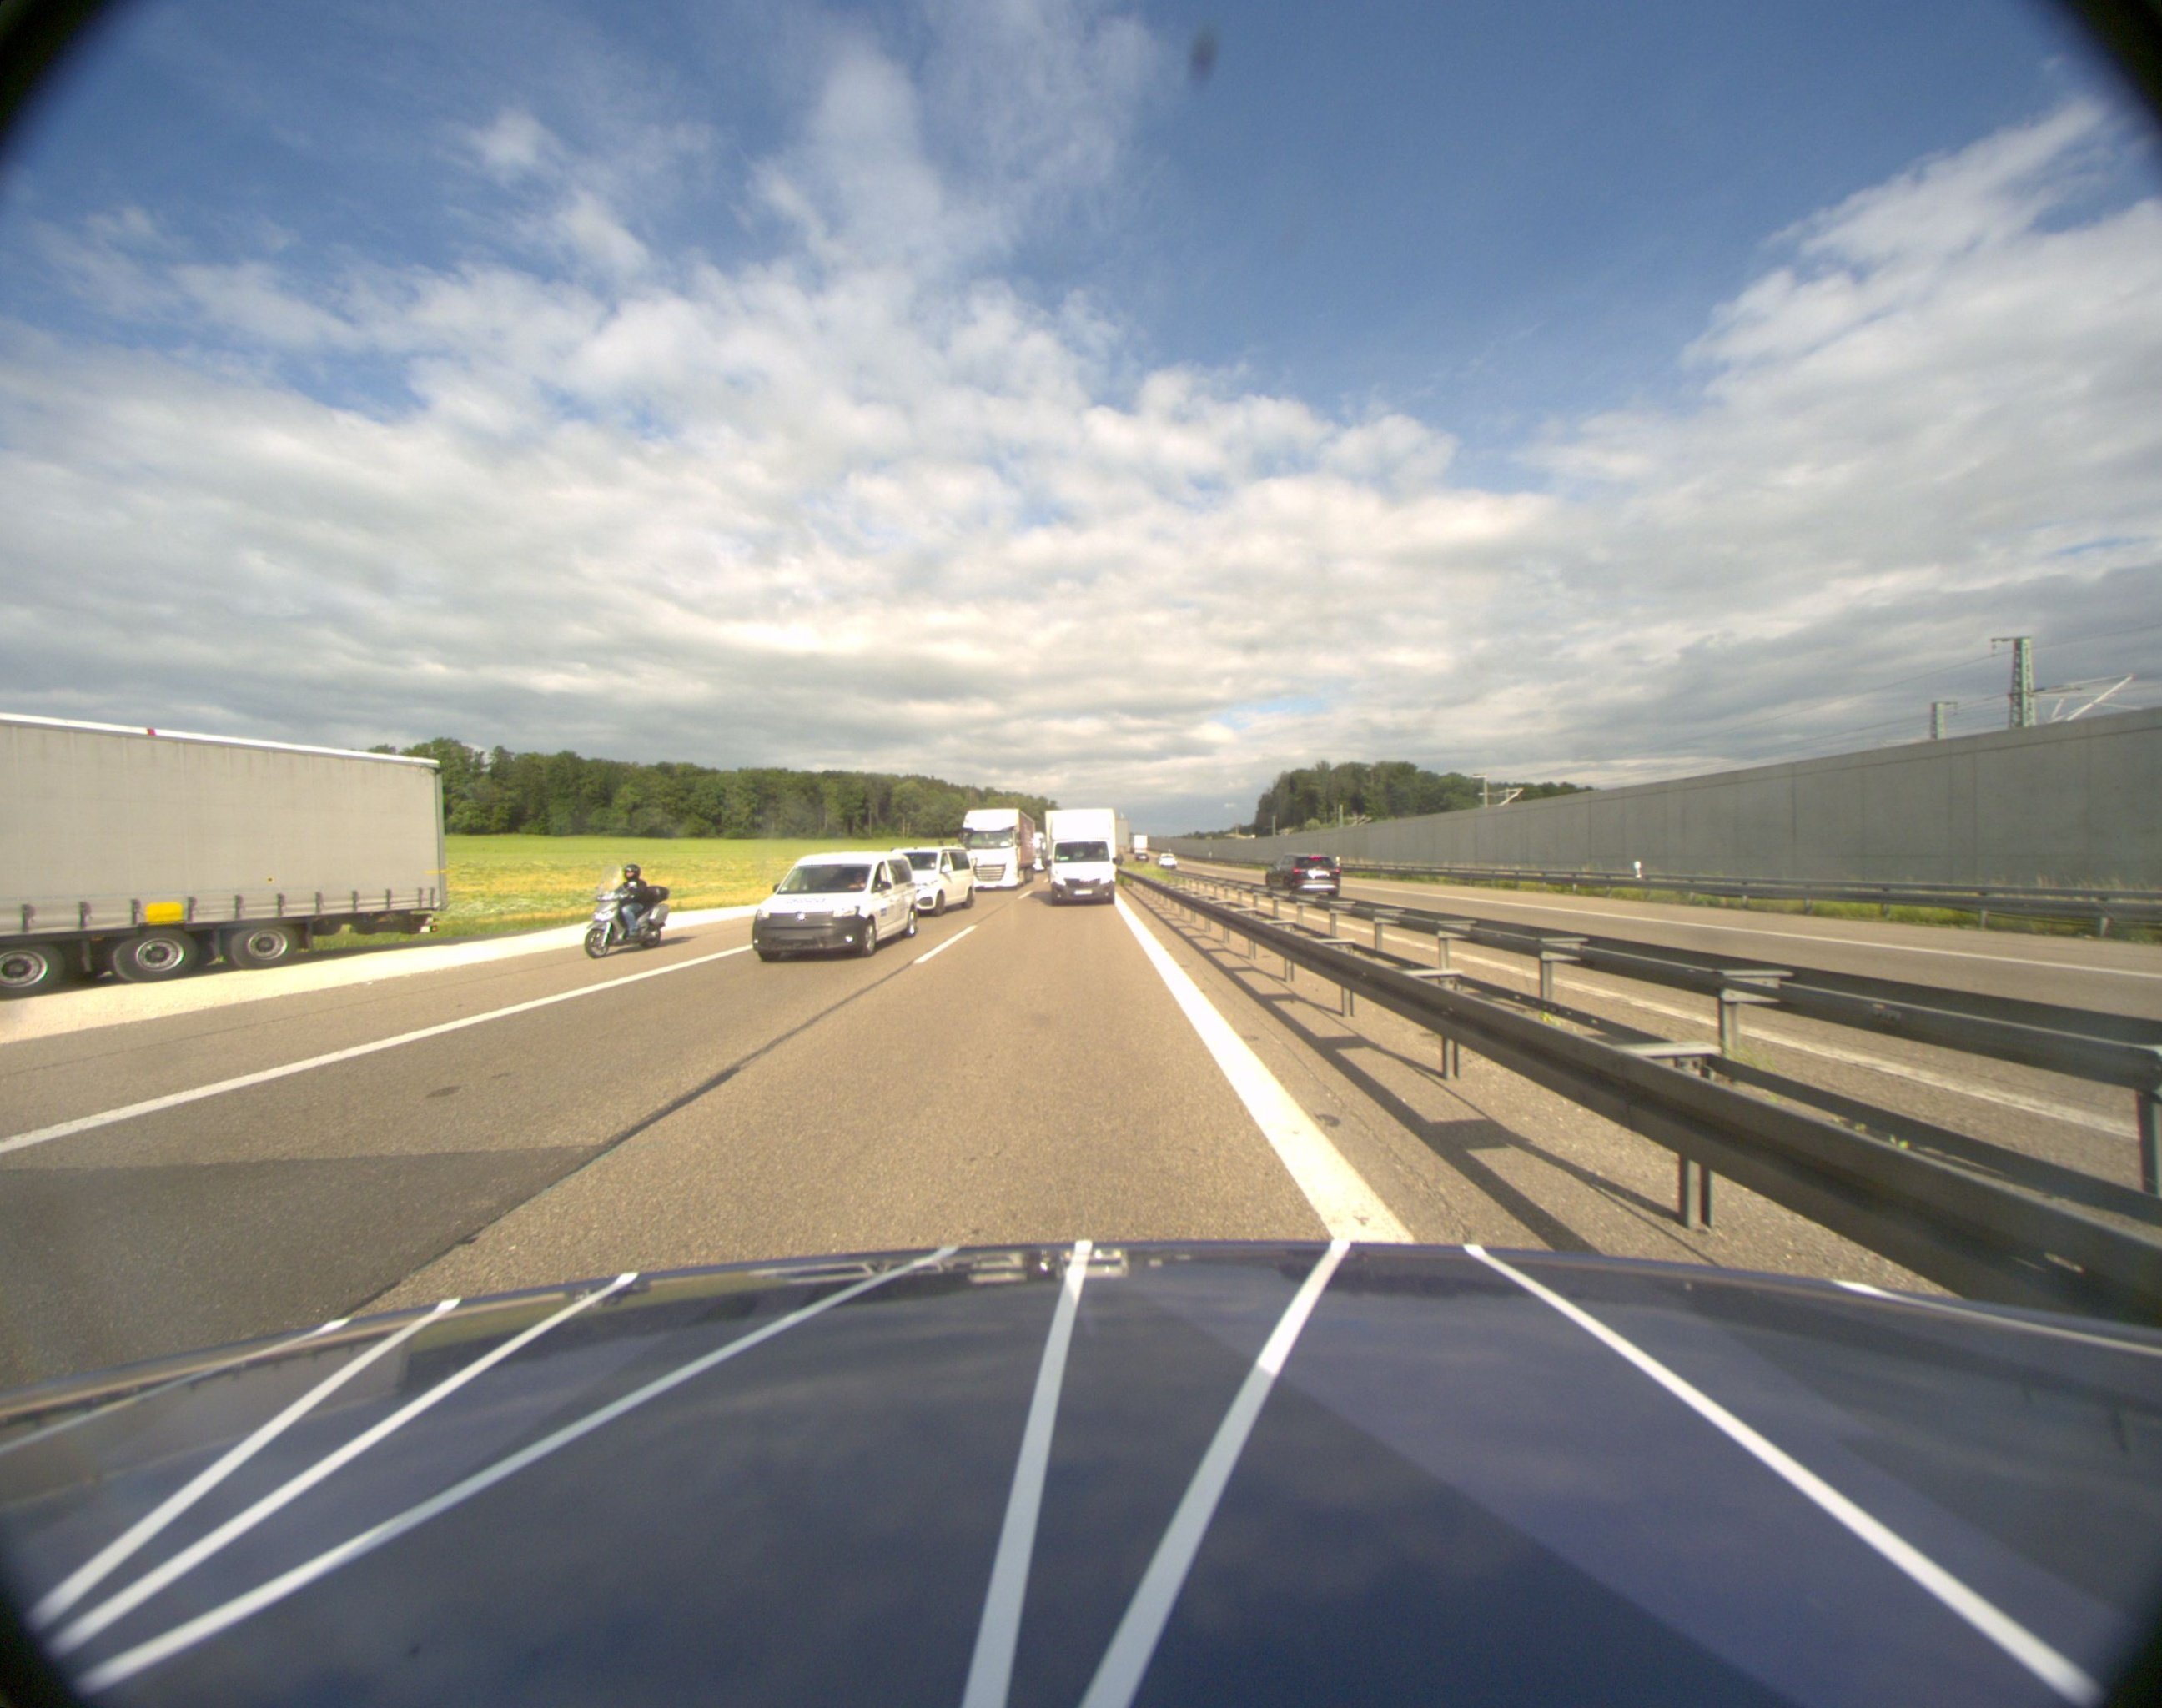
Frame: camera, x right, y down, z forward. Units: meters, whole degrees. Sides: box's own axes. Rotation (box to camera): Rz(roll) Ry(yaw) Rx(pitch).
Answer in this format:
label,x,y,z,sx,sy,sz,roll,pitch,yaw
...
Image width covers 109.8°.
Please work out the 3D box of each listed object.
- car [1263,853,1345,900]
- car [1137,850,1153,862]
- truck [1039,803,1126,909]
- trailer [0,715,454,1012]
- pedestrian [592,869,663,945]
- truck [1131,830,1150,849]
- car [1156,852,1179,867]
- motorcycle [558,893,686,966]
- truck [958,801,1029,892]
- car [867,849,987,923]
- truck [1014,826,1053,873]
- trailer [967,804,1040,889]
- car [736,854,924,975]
label,x,y,z,sx,sy,sz,roll,pitch,yaw
car,8.146,0.765,28.179,1.720,1.586,4.449,-1,0,0
car,8.624,0.276,103.011,1.808,1.454,4.449,-1,0,-1
truck,0.061,0.072,28.827,2.500,3.082,12.038,-2,0,0
trailer,-16.637,0.178,9.964,2.739,4.136,13.843,-2,0,15
pedestrian,-8.512,0.986,14.291,0.757,1.366,0.819,-1,0,9
truck,13.058,-3.131,166.624,2.952,4.037,11.745,-2,1,0
car,8.485,0.509,75.143,1.721,1.454,4.449,-1,0,-1
motorcycle,-8.514,1.364,14.235,0.757,1.143,2.246,-1,0,9
truck,-4.275,-0.389,38.281,2.736,4.150,5.766,-2,1,0
car,-4.462,0.839,22.970,1.799,1.914,5.270,-2,0,8
truck,-4.447,-0.367,73.556,2.946,4.094,12.524,-1,0,0
trailer,-4.255,-0.470,45.222,2.742,4.136,14.016,-2,1,0
car,-4.259,0.914,13.782,1.729,1.746,4.702,-3,0,1
